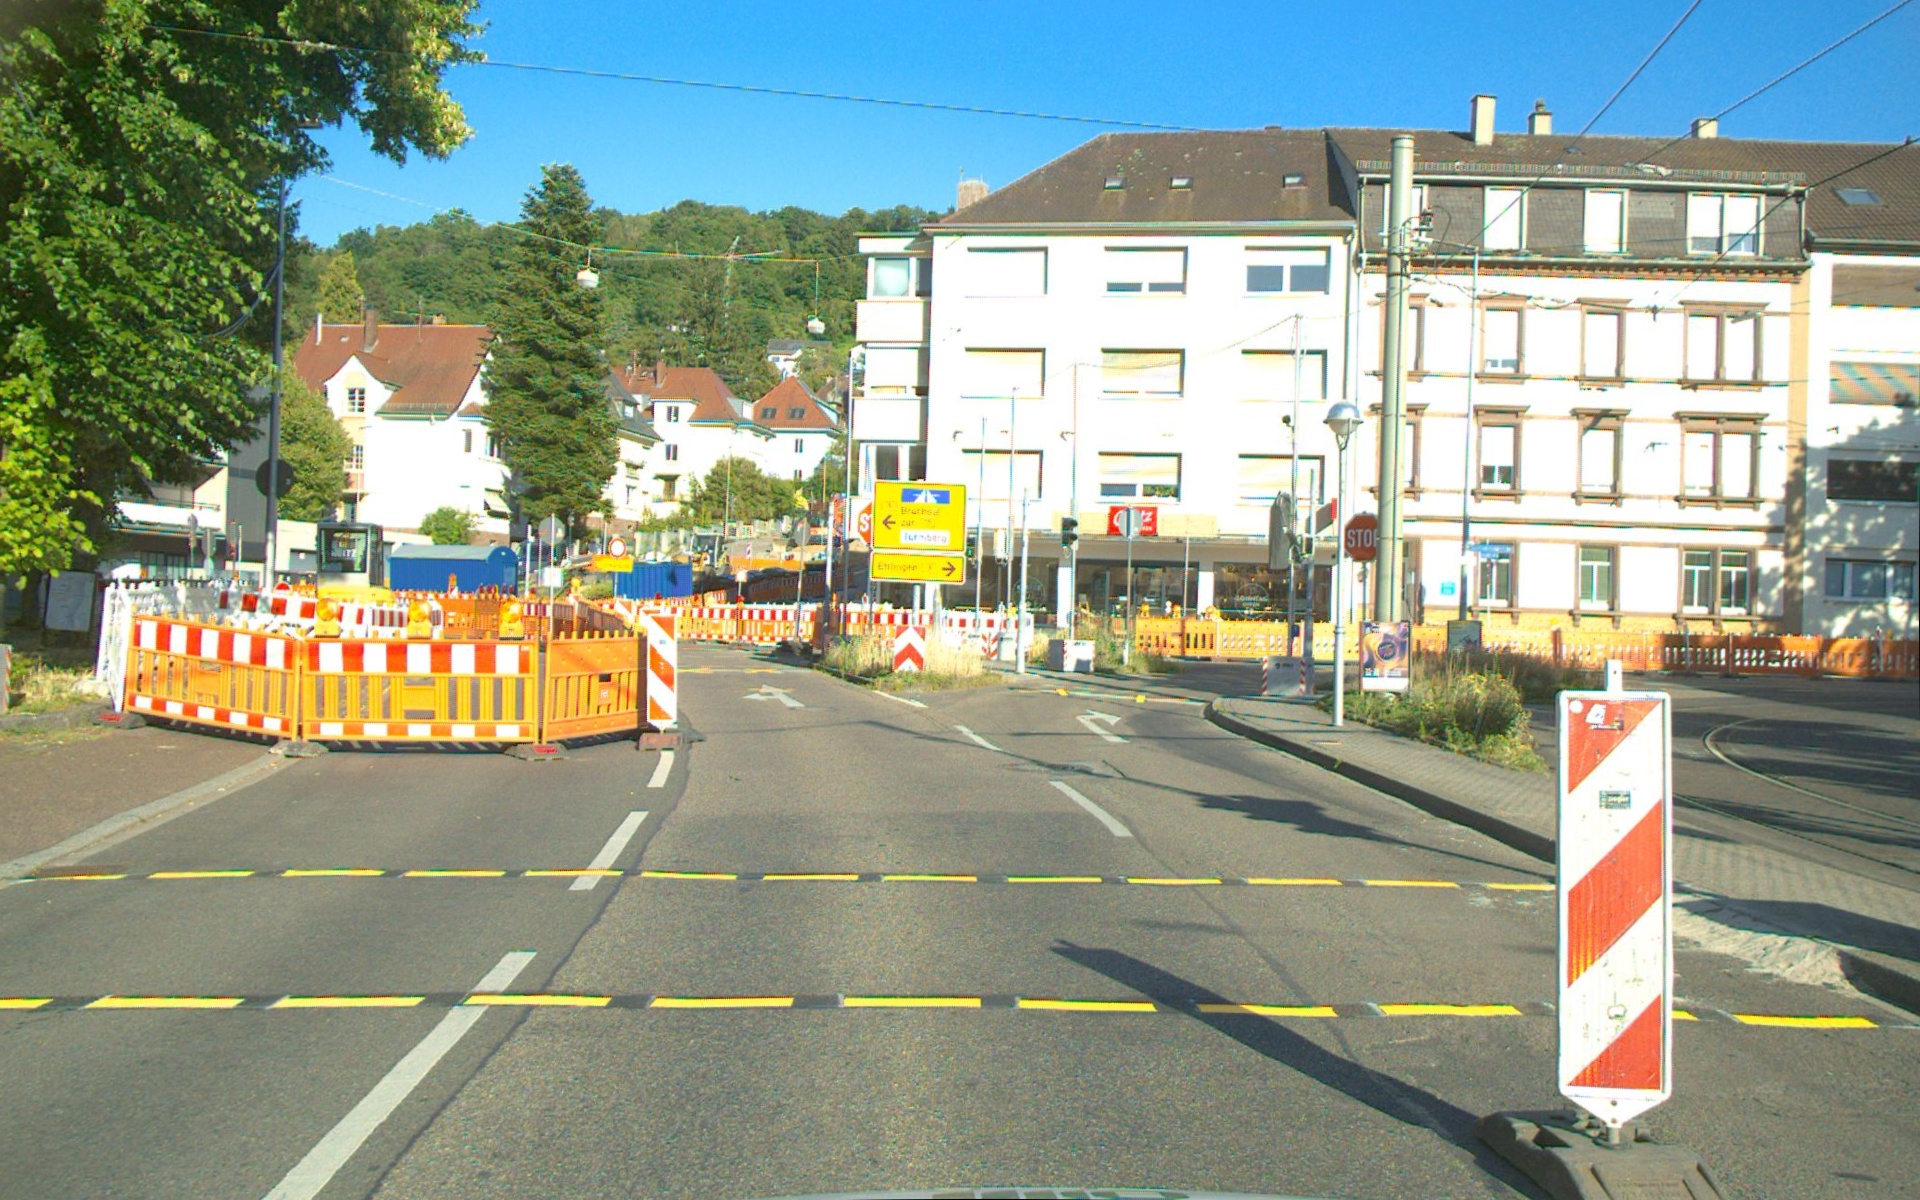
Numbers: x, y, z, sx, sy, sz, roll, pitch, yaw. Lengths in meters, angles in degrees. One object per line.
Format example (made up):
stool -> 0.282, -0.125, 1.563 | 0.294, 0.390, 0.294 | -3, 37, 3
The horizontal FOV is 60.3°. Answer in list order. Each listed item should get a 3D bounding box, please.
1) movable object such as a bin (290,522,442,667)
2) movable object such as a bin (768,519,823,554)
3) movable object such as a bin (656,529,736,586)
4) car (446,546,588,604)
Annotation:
movable object such as a bin -> -10.445, -0.098, 29.337 | 1.615, 2.365, 3.916 | 1, 0, -6
movable object such as a bin -> -11.374, -4.390, 114.736 | 2.510, 2.159, 5.789 | 1, 0, 8
movable object such as a bin -> -12.534, -2.005, 78.785 | 1.907, 2.538, 4.554 | 1, 0, 17
car -> -17.541, -0.946, 65.890 | 2.529, 2.158, 6.154 | 1, 0, 17
